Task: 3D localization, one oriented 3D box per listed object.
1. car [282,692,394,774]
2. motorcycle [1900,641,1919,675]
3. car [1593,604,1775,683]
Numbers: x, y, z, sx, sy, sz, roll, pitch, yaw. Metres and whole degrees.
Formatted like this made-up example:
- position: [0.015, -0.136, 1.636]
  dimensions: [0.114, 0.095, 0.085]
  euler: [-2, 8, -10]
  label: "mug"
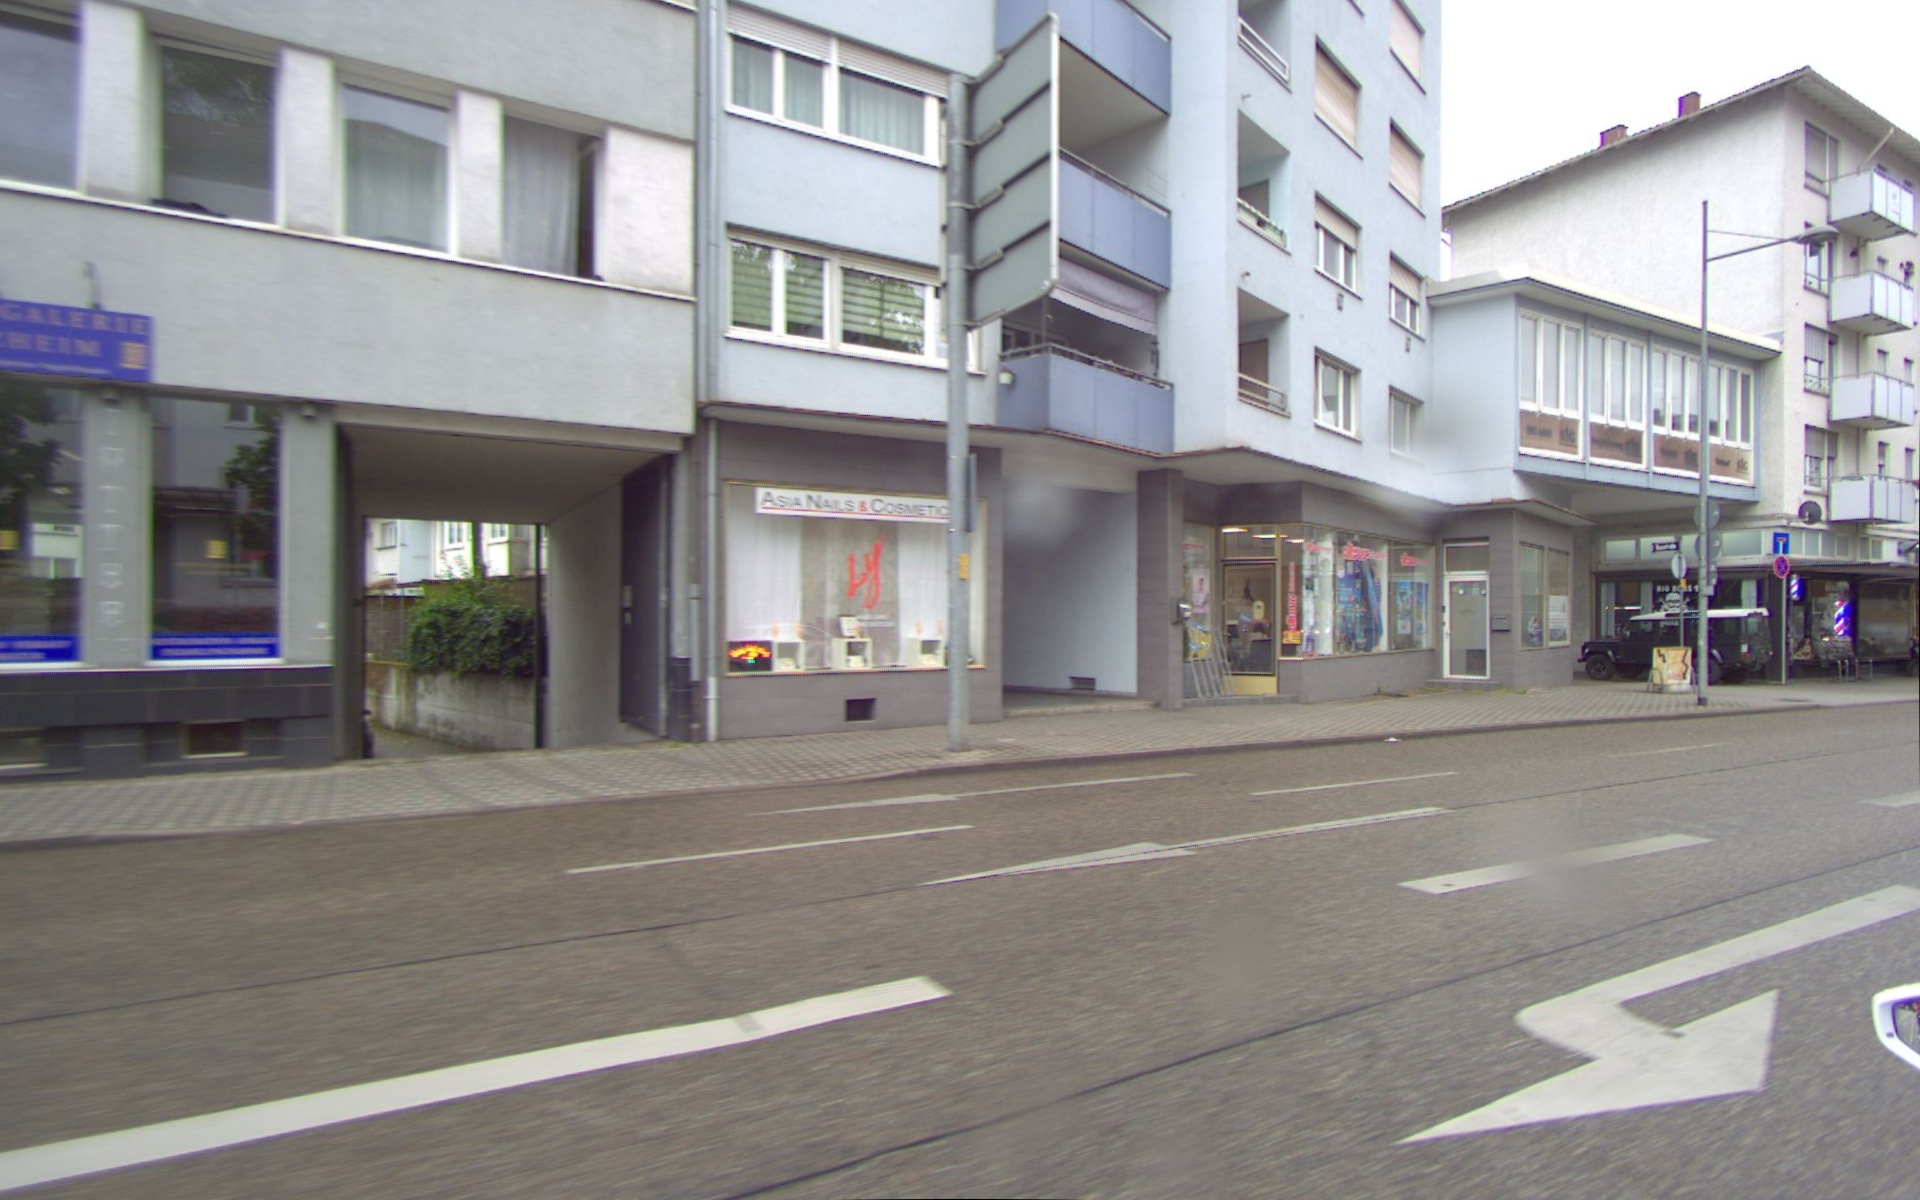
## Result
- position: [-14.137, 2.958, 23.029]
  dimensions: [1.853, 1.369, 3.972]
  euler: [0, -1, -27]
  label: "car"
- position: [30.069, 1.796, 31.264]
  dimensions: [2.110, 1.009, 0.523]
  euler: [1, 1, -29]
  label: "motorcycle"
- position: [20.411, 1.190, 28.504]
  dimensions: [1.559, 2.061, 3.950]
  euler: [1, -1, -26]
  label: "car"
